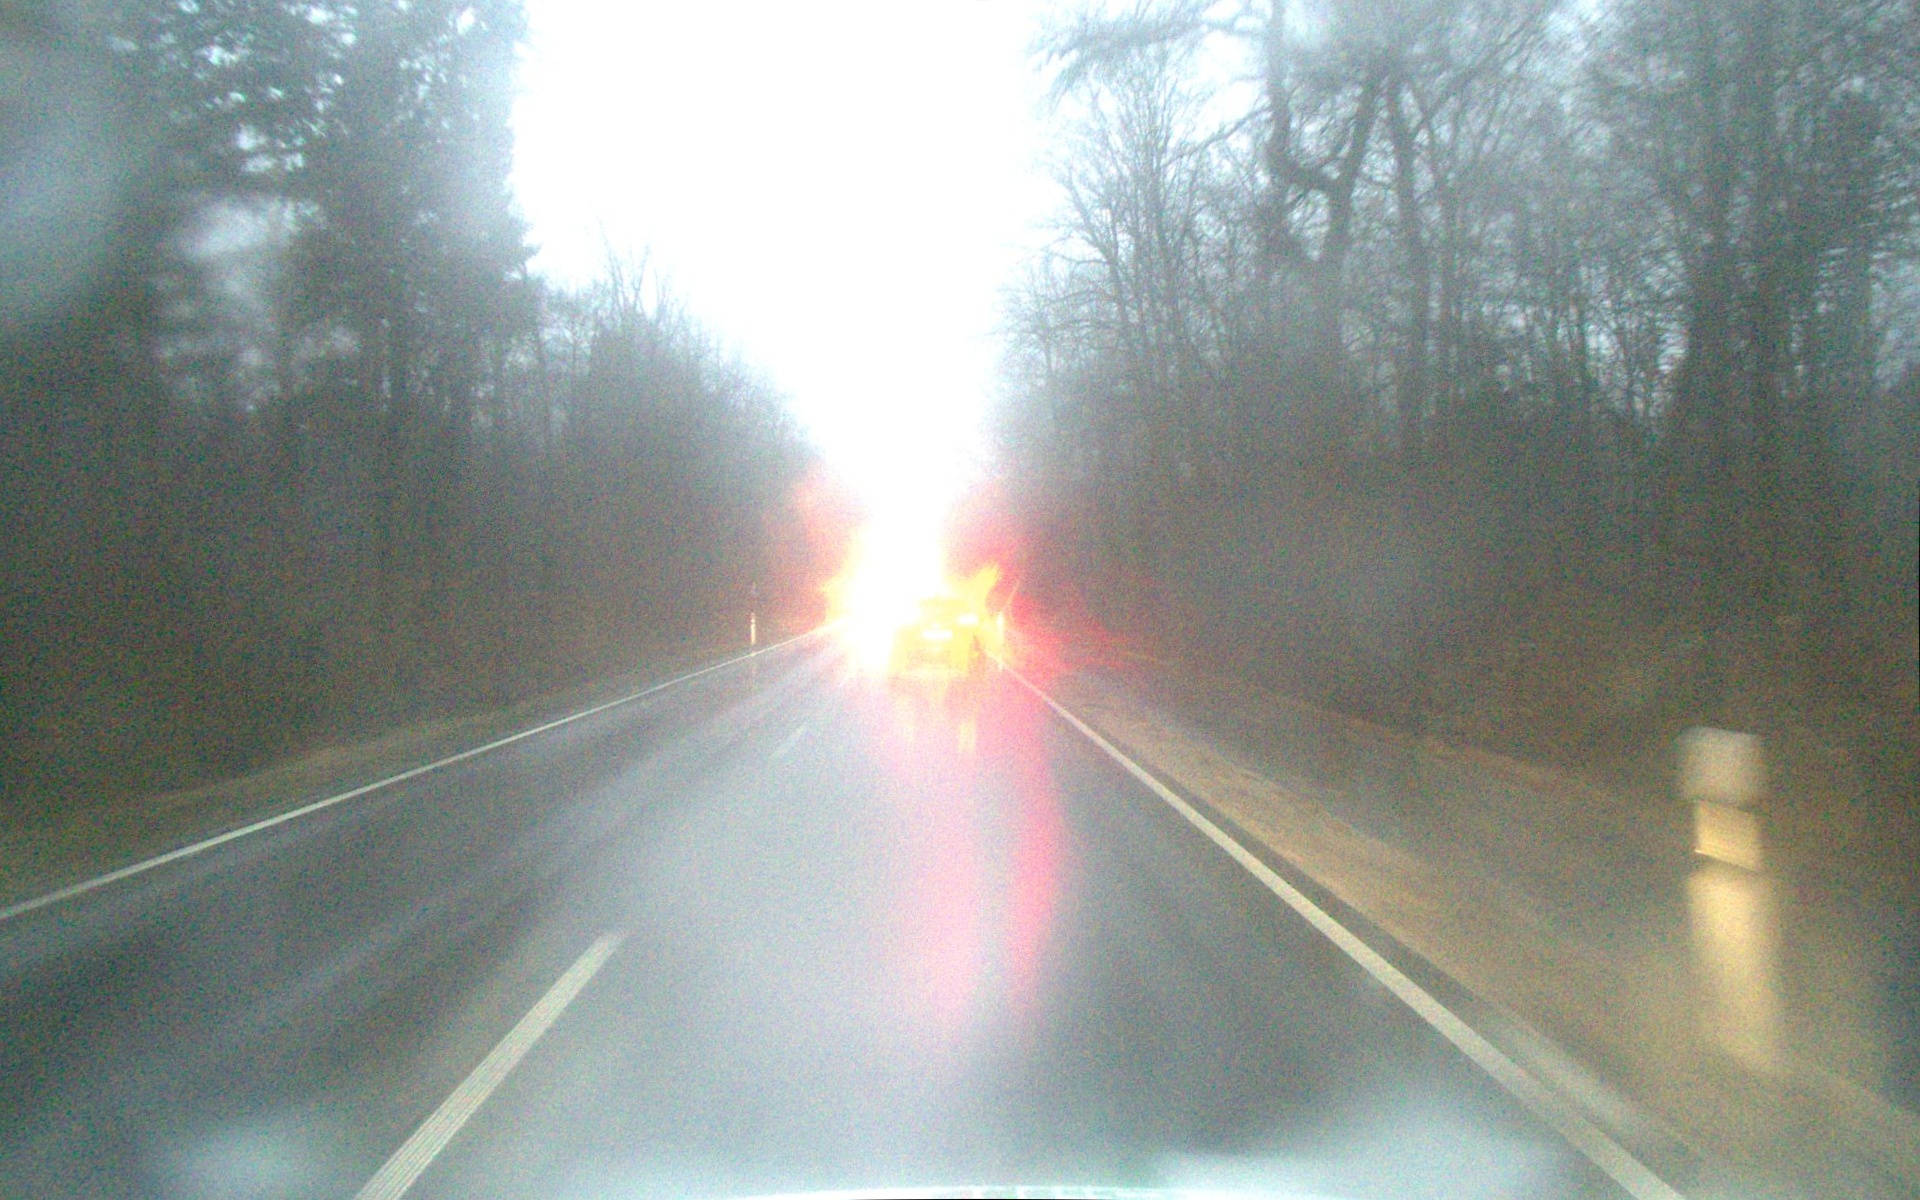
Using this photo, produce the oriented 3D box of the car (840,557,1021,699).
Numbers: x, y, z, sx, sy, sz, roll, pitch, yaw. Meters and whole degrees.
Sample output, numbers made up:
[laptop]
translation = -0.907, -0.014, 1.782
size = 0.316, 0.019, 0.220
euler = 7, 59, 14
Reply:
[car]
translation = -0.553, 0.497, 32.119
size = 3.119, 2.428, 6.635
euler = 1, 0, -1
